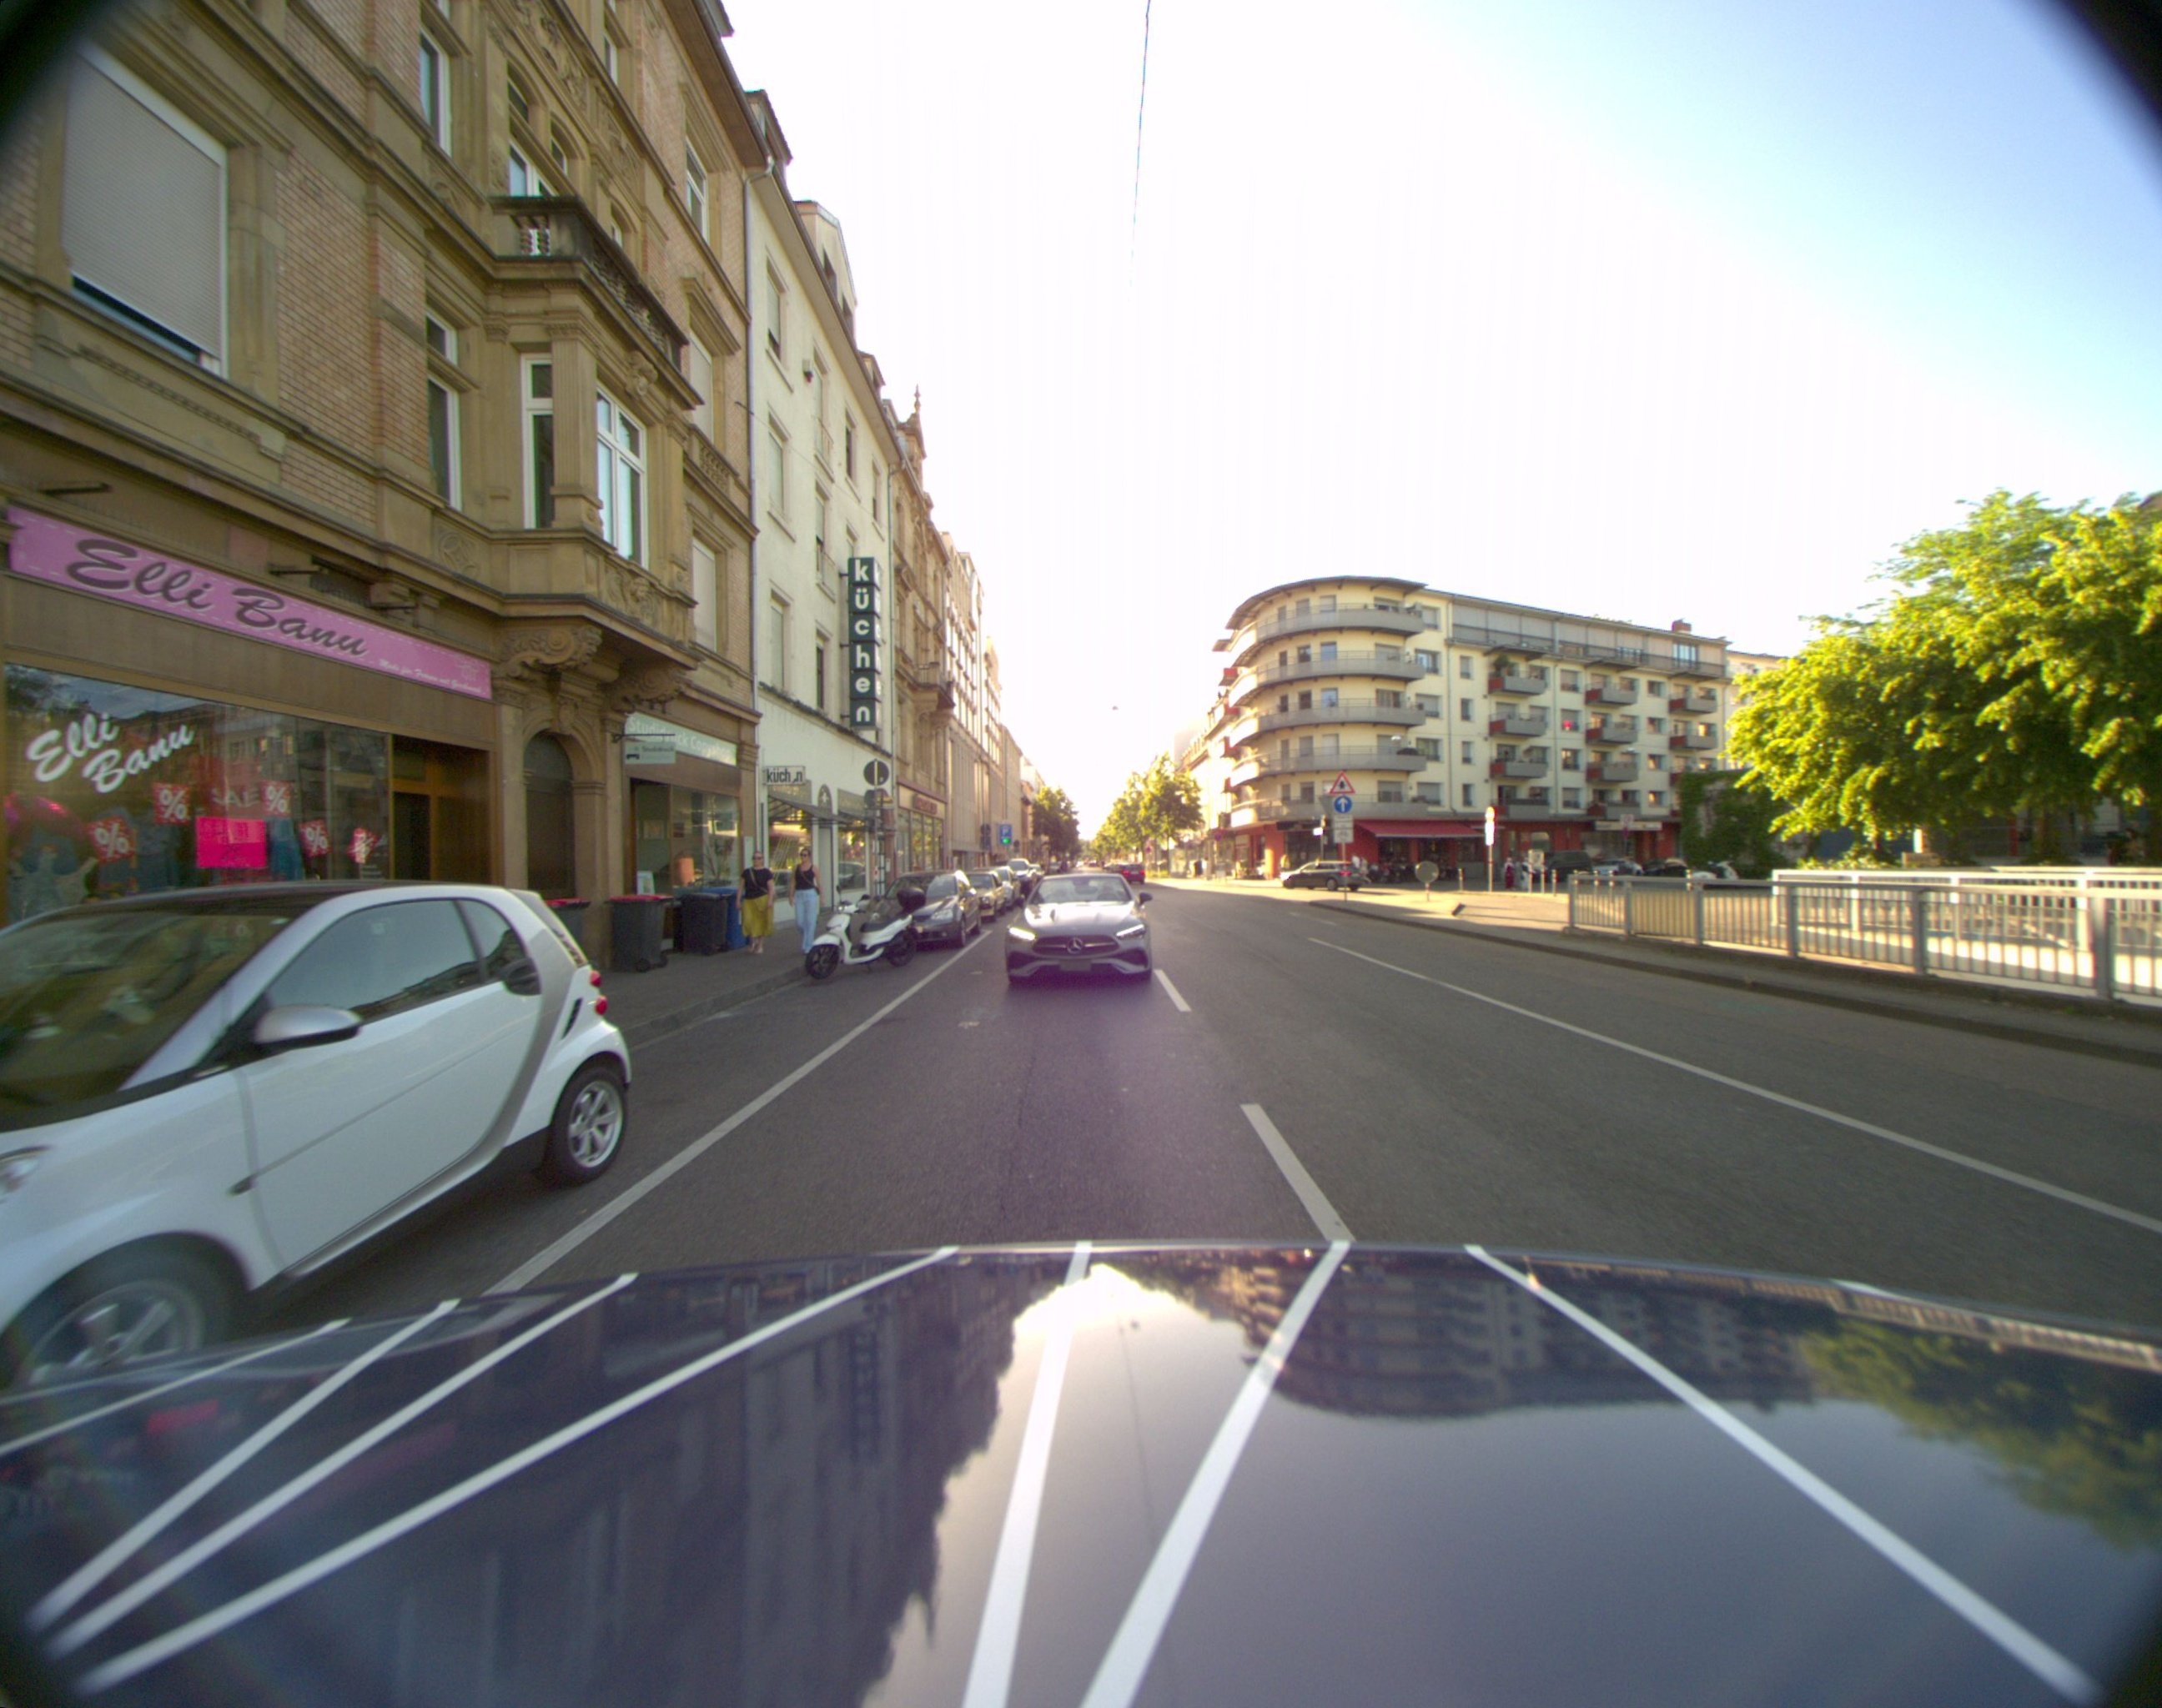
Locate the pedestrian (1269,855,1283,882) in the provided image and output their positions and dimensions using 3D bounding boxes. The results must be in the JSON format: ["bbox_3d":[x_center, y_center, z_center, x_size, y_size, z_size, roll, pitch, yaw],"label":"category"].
[{"bbox_3d":[11.537,0.857,44.917,0.570,1.612,0.793,-2,0,-3],"label":"pedestrian"}]

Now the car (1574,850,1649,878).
[{"bbox_3d":[34.335,0.629,49.189,4.300,1.611,1.952,-2,0,-23],"label":"car"}]

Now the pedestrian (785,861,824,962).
[{"bbox_3d":[-4.599,0.941,12.655,0.515,1.623,0.414,-2,0,-16],"label":"pedestrian"}]

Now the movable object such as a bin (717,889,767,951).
[{"bbox_3d":[-6.199,1.201,13.900,0.606,1.067,0.619,1,0,1],"label":"movable object such as a bin"}]

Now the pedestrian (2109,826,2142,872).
[{"bbox_3d":[40.509,-0.192,29.464,0.602,1.782,0.582,-3,1,-19],"label":"pedestrian"}]

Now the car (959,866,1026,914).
[{"bbox_3d":[-2.932,1.158,25.913,1.737,1.408,3.802,-2,0,1],"label":"car"}]

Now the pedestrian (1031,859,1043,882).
[{"bbox_3d":[-3.204,1.190,55.417,0.774,1.606,0.696,-2,0,-3],"label":"pedestrian"}]

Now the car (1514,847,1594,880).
[{"bbox_3d":[29.250,0.568,46.990,4.431,1.901,1.952,-2,0,-23],"label":"car"}]

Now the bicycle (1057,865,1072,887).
[{"bbox_3d":[-0.958,1.280,45.041,0.798,1.225,1.774,-2,0,1],"label":"bicycle"}]

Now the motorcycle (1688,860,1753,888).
[{"bbox_3d":[26.427,0.835,31.413,1.927,1.096,0.682,-2,0,23],"label":"motorcycle"}]

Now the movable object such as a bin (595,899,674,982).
[{"bbox_3d":[-6.200,1.187,10.579,0.716,1.065,0.619,1,0,1],"label":"movable object such as a bin"}]

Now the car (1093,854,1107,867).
[{"bbox_3d":[3.028,0.965,121.425,1.998,2.002,4.000,-2,0,1],"label":"car"}]

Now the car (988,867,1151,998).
[{"bbox_3d":[0.051,0.982,11.177,1.847,1.440,4.375,-2,0,6],"label":"car"}]

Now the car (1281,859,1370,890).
[{"bbox_3d":[11.719,0.966,36.695,1.810,1.388,3.918,-2,0,-28],"label":"car"}]

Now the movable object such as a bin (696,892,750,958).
[{"bbox_3d":[-6.181,1.216,13.135,0.606,1.067,0.619,1,0,1],"label":"movable object such as a bin"}]

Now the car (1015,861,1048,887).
[{"bbox_3d":[-3.325,1.341,51.994,1.895,1.595,4.050,-2,0,1],"label":"car"}]

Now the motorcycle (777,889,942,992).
[{"bbox_3d":[-3.266,1.224,11.348,2.178,1.272,0.866,-2,0,-41],"label":"motorcycle"}]

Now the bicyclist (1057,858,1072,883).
[{"bbox_3d":[-0.964,0.970,45.041,0.798,1.426,1.008,-2,0,2],"label":"bicyclist"}]

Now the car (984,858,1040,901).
[{"bbox_3d":[-2.886,1.041,32.544,1.895,1.680,4.050,-2,0,1],"label":"car"}]

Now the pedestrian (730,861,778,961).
[{"bbox_3d":[-5.424,0.931,12.614,0.619,1.623,0.462,1,0,-9],"label":"pedestrian"}]

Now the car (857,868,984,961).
[{"bbox_3d":[-3.057,1.086,15.323,1.737,1.509,4.165,-2,0,-2],"label":"car"}]

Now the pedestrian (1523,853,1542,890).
[{"bbox_3d":[21.880,0.850,36.835,0.602,1.782,0.581,-3,1,-40],"label":"pedestrian"}]

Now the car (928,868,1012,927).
[{"bbox_3d":[-3.044,1.154,21.511,1.737,1.408,3.802,-2,0,1],"label":"car"}]

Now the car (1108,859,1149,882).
[{"bbox_3d":[3.077,1.057,50.133,1.896,1.388,4.253,-2,0,-7],"label":"car"}]

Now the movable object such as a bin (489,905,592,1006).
[{"bbox_3d":[-6.217,1.153,8.768,0.716,1.065,0.619,1,0,1],"label":"movable object such as a bin"}]

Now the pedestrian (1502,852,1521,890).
[{"bbox_3d":[20.563,0.808,36.305,0.602,1.782,0.581,-3,1,-44],"label":"pedestrian"}]

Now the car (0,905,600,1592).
[{"bbox_3d":[-3.249,1.042,2.670,1.275,1.509,2.795,-2,0,0],"label":"car"}]

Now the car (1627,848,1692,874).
[{"bbox_3d":[39.329,0.464,51.683,3.940,1.611,1.788,-2,0,-23],"label":"car"}]

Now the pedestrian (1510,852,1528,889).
[{"bbox_3d":[21.138,0.804,36.681,0.602,1.782,0.581,-3,1,-44],"label":"pedestrian"}]

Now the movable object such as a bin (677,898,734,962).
[{"bbox_3d":[-6.157,1.232,12.474,0.606,0.986,0.619,1,0,1],"label":"movable object such as a bin"}]
